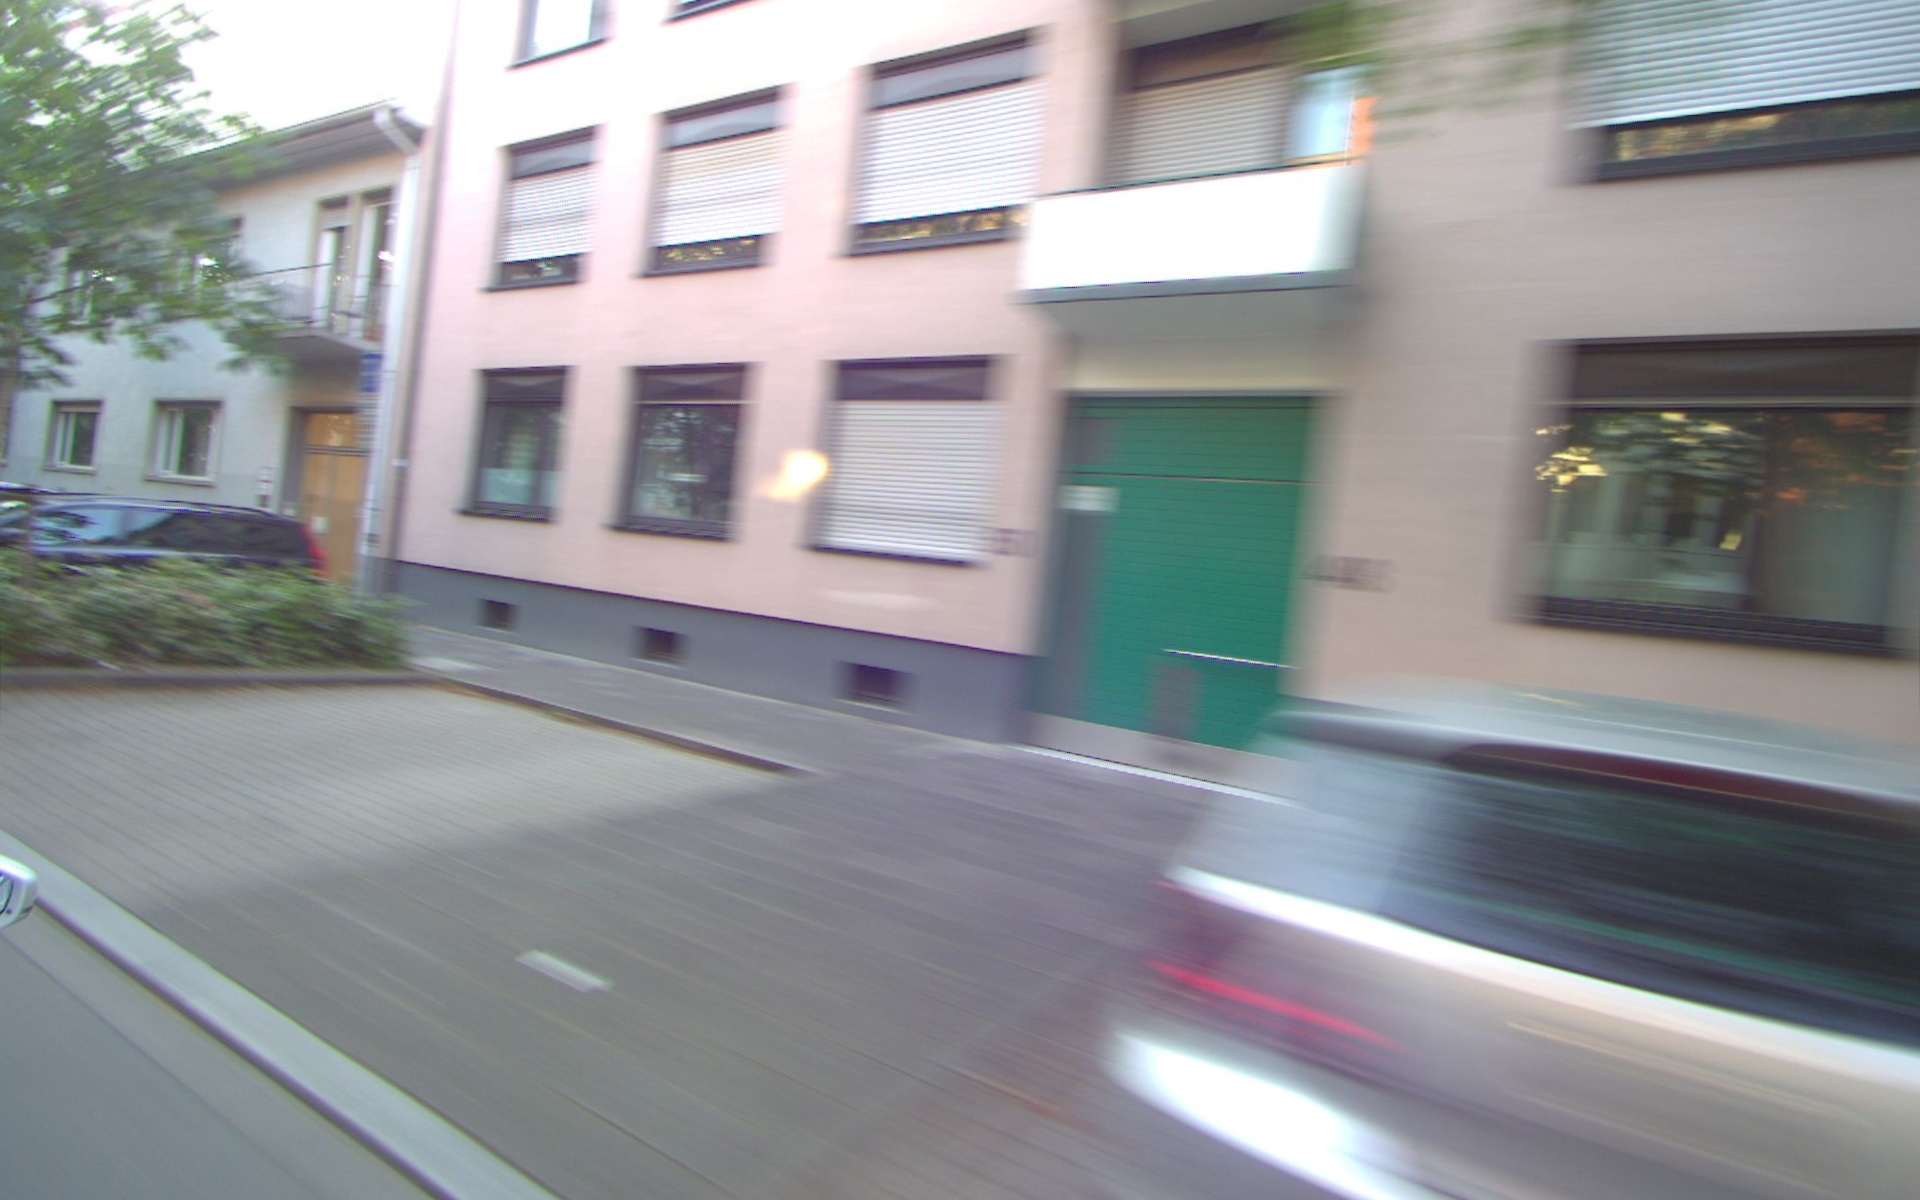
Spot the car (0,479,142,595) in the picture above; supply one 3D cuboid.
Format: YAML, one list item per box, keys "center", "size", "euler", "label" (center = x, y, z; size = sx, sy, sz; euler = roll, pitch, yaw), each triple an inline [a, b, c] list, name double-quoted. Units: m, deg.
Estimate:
- center: [-14.694, -1.060, 14.010]
  size: [1.930, 1.541, 4.686]
  euler: [7, 1, 31]
  label: "car"

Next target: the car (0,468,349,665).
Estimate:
- center: [-9.405, -0.414, 10.463]
  size: [1.918, 1.730, 4.723]
  euler: [8, -1, 33]
  label: "car"

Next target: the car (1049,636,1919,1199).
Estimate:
- center: [1.892, 0.994, 3.048]
  size: [1.816, 1.458, 3.882]
  euler: [8, 1, 28]
  label: "car"
